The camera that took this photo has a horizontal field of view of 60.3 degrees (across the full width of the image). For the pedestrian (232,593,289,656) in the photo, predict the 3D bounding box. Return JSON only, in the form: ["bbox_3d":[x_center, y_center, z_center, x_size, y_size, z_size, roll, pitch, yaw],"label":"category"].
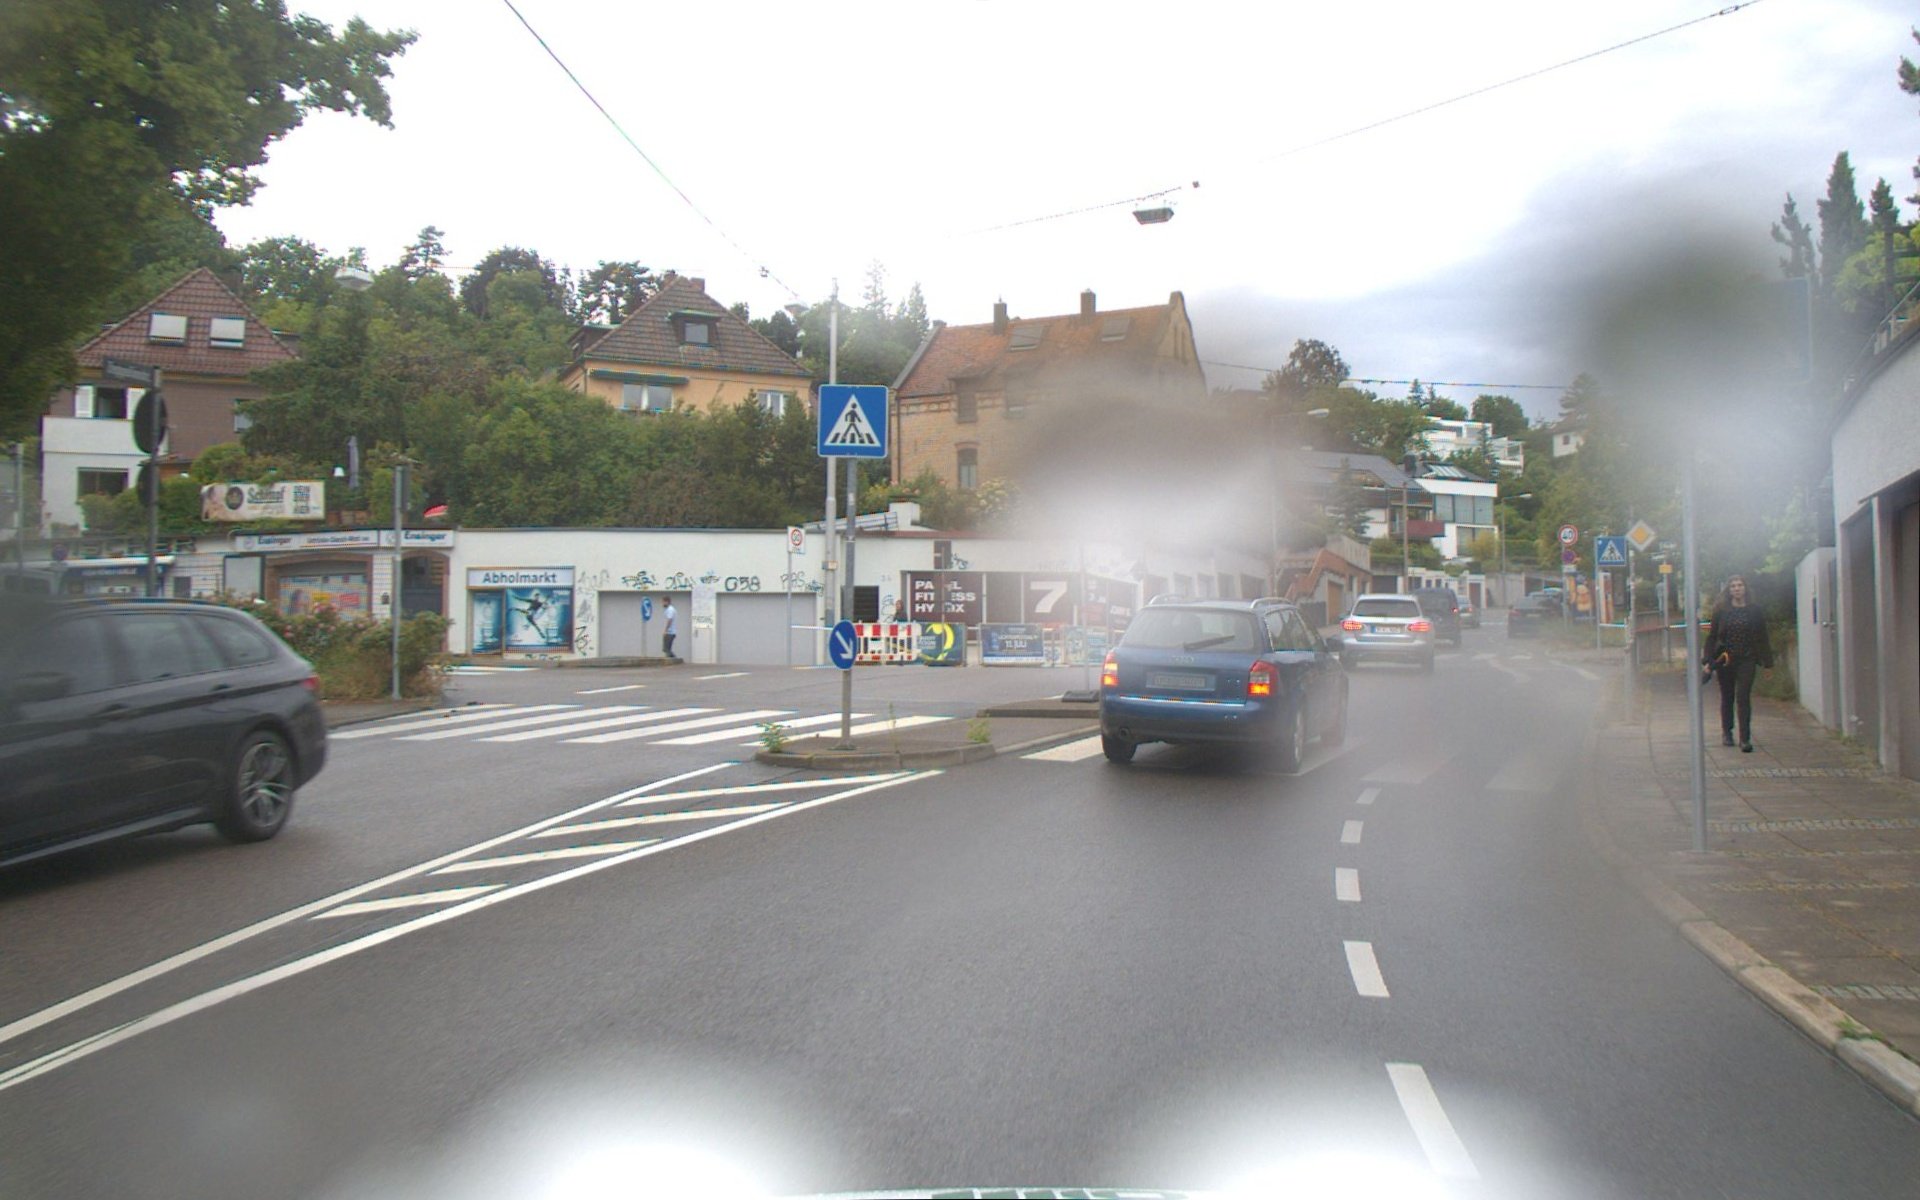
[{"bbox_3d":[-17.706,0.614,41.871,0.955,1.531,0.891,2,1,20],"label":"pedestrian"}]

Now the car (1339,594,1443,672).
[{"bbox_3d":[8.380,0.594,31.961,1.773,1.384,4.002,1,0,17],"label":"car"}]

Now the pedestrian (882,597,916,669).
[{"bbox_3d":[-1.496,0.810,40.535,0.577,1.719,0.619,-1,-2,-32],"label":"pedestrian"}]

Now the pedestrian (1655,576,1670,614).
[{"bbox_3d":[34.031,-0.248,80.128,0.625,1.826,0.744,-1,0,20],"label":"pedestrian"}]

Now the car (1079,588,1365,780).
[{"bbox_3d":[2.540,0.639,15.190,1.774,1.464,4.082,0,1,21],"label":"car"}]

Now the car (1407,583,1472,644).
[{"bbox_3d":[15.319,0.405,52.721,1.786,1.851,4.001,-1,0,19],"label":"car"}]

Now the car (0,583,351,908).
[{"bbox_3d":[-5.322,0.708,8.765,1.830,1.517,4.641,-2,1,10],"label":"car"}]

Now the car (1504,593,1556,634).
[{"bbox_3d":[20.773,0.465,60.301,1.734,1.401,4.350,-1,0,19],"label":"car"}]

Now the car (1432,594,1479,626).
[{"bbox_3d":[21.509,0.417,71.785,1.786,1.319,4.001,-1,0,19],"label":"car"}]

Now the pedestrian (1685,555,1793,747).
[{"bbox_3d":[7.434,0.480,15.834,0.787,1.752,1.060,-3,-1,21],"label":"pedestrian"}]

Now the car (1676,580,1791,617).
[{"bbox_3d":[31.014,-0.049,66.358,3.922,1.440,1.718,0,0,38],"label":"car"}]

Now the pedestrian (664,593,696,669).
[{"bbox_3d":[-6.880,0.752,40.687,0.690,1.837,0.808,1,0,-4],"label":"pedestrian"}]

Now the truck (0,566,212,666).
[{"bbox_3d":[-21.914,0.351,40.550,6.645,2.309,2.316,1,0,18],"label":"truck"}]

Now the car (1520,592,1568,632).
[{"bbox_3d":[22.891,0.454,64.944,1.679,1.476,3.835,-1,0,18],"label":"car"}]
